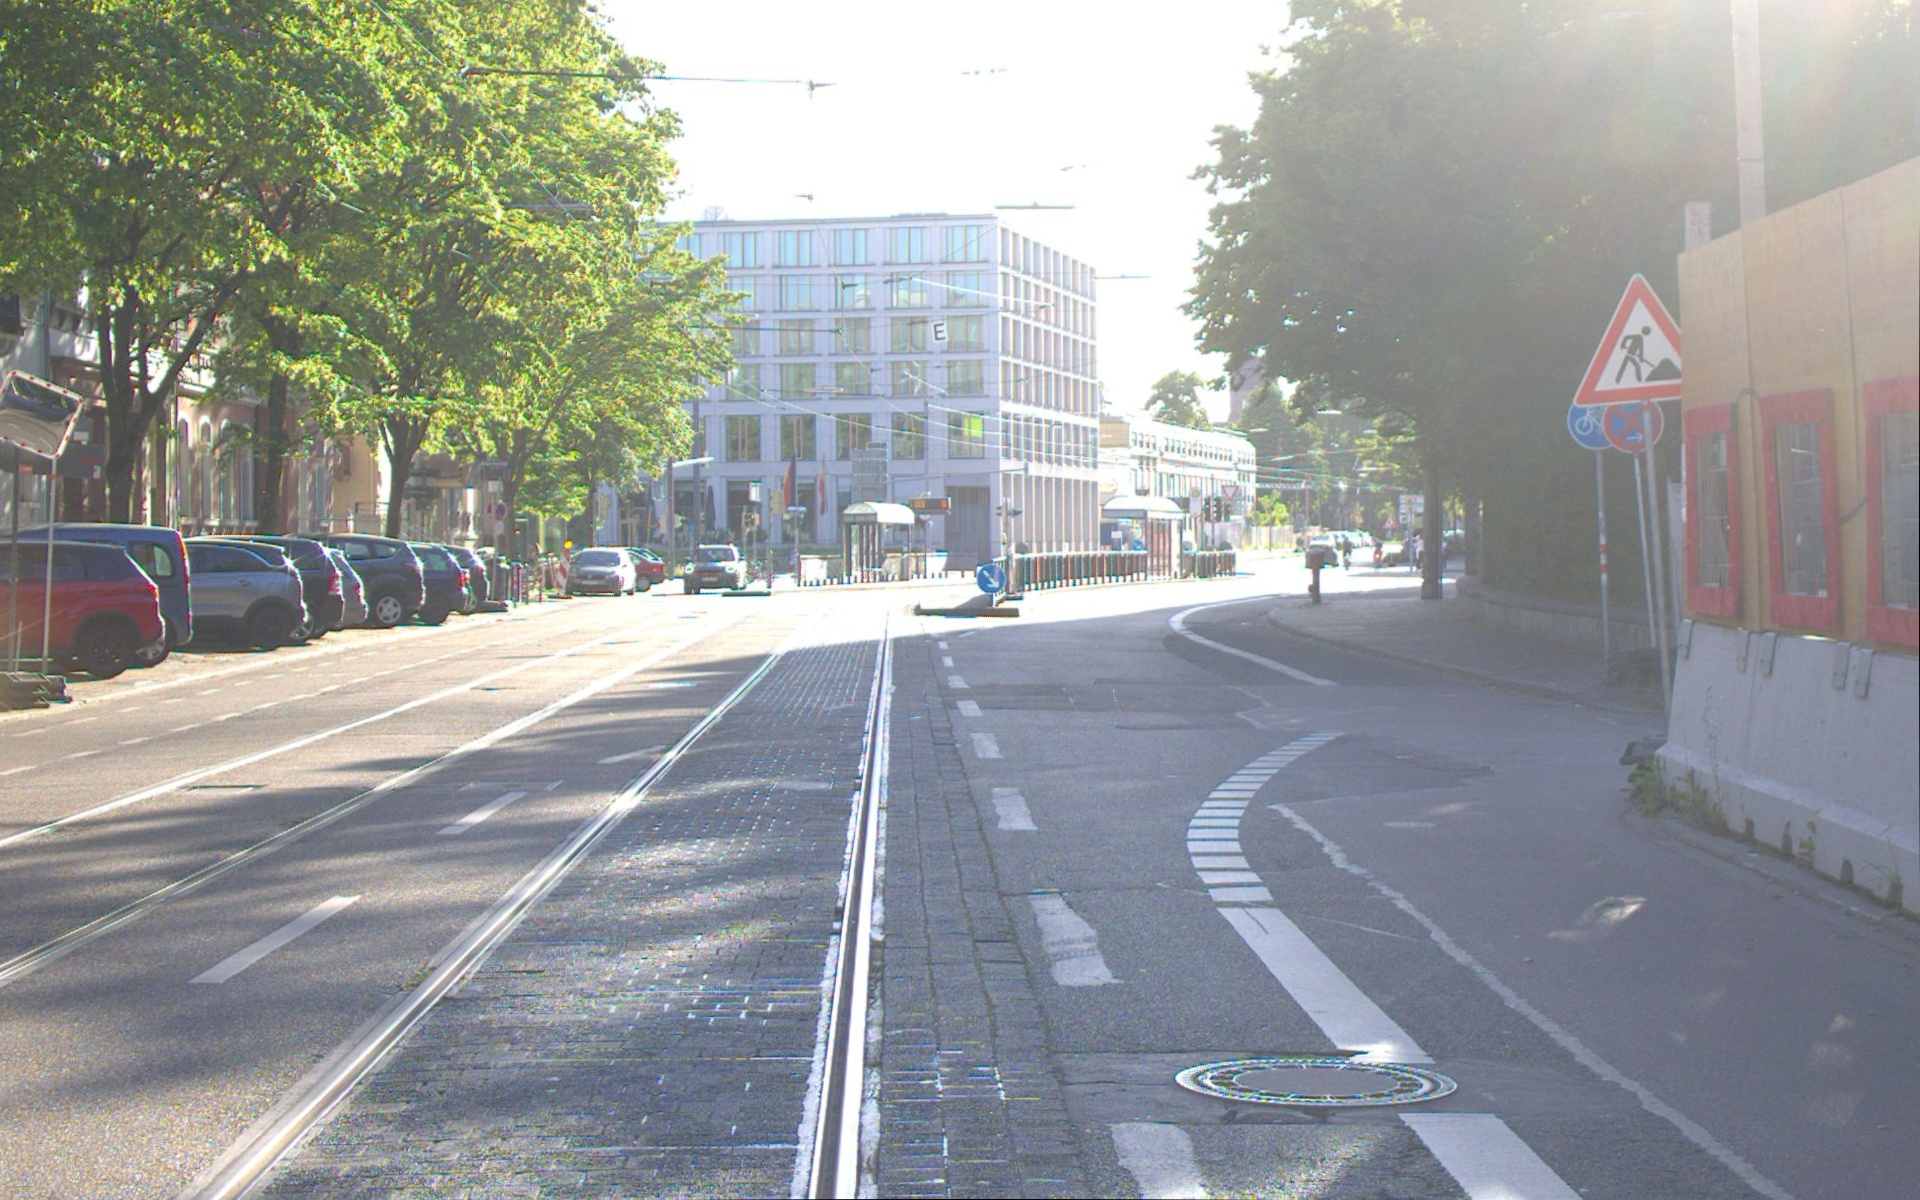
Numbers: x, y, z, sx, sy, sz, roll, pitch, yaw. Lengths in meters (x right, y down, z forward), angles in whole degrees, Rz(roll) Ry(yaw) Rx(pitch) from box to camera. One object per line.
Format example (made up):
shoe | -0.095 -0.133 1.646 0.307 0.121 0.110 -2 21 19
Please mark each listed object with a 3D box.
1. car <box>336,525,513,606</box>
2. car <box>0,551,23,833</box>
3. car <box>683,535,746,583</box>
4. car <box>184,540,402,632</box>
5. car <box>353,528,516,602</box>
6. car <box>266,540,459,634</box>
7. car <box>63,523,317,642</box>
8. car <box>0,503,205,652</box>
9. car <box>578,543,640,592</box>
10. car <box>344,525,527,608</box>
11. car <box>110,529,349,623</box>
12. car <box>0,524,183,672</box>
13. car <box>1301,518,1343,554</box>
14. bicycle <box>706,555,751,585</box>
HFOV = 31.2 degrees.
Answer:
car | -10.774 -0.703 69.157 3.270 1.580 1.470 -1 1 -23
car | -6.054 0.509 15.850 1.710 1.431 4.169 0 1 10
car | -8.125 -1.366 114.008 1.558 1.525 4.000 0 1 3
car | -10.962 -0.245 56.506 3.270 1.479 1.470 -1 1 -23
car | -11.576 -0.778 75.706 3.270 1.579 1.470 -1 1 -23
car | -11.075 -0.246 63.687 3.270 1.692 1.470 -1 1 -23
car | -11.286 -0.265 50.414 3.372 1.692 1.405 0 1 -28
car | -11.774 -0.290 43.777 3.828 1.826 1.732 1 0 -31
car | -10.918 -1.013 107.106 1.573 1.485 4.000 0 1 -1
car | -10.252 -0.659 67.198 3.270 1.580 1.470 -1 1 -23
car | -11.330 -0.381 53.371 3.372 1.415 1.405 0 1 -28
car | -11.475 -0.033 40.714 4.159 1.715 1.584 0 1 -28
car | 20.119 -3.564 191.036 1.994 2.007 3.998 0 1 10
bicycle | -9.497 -1.244 140.790 1.793 1.219 0.599 0 1 -9
